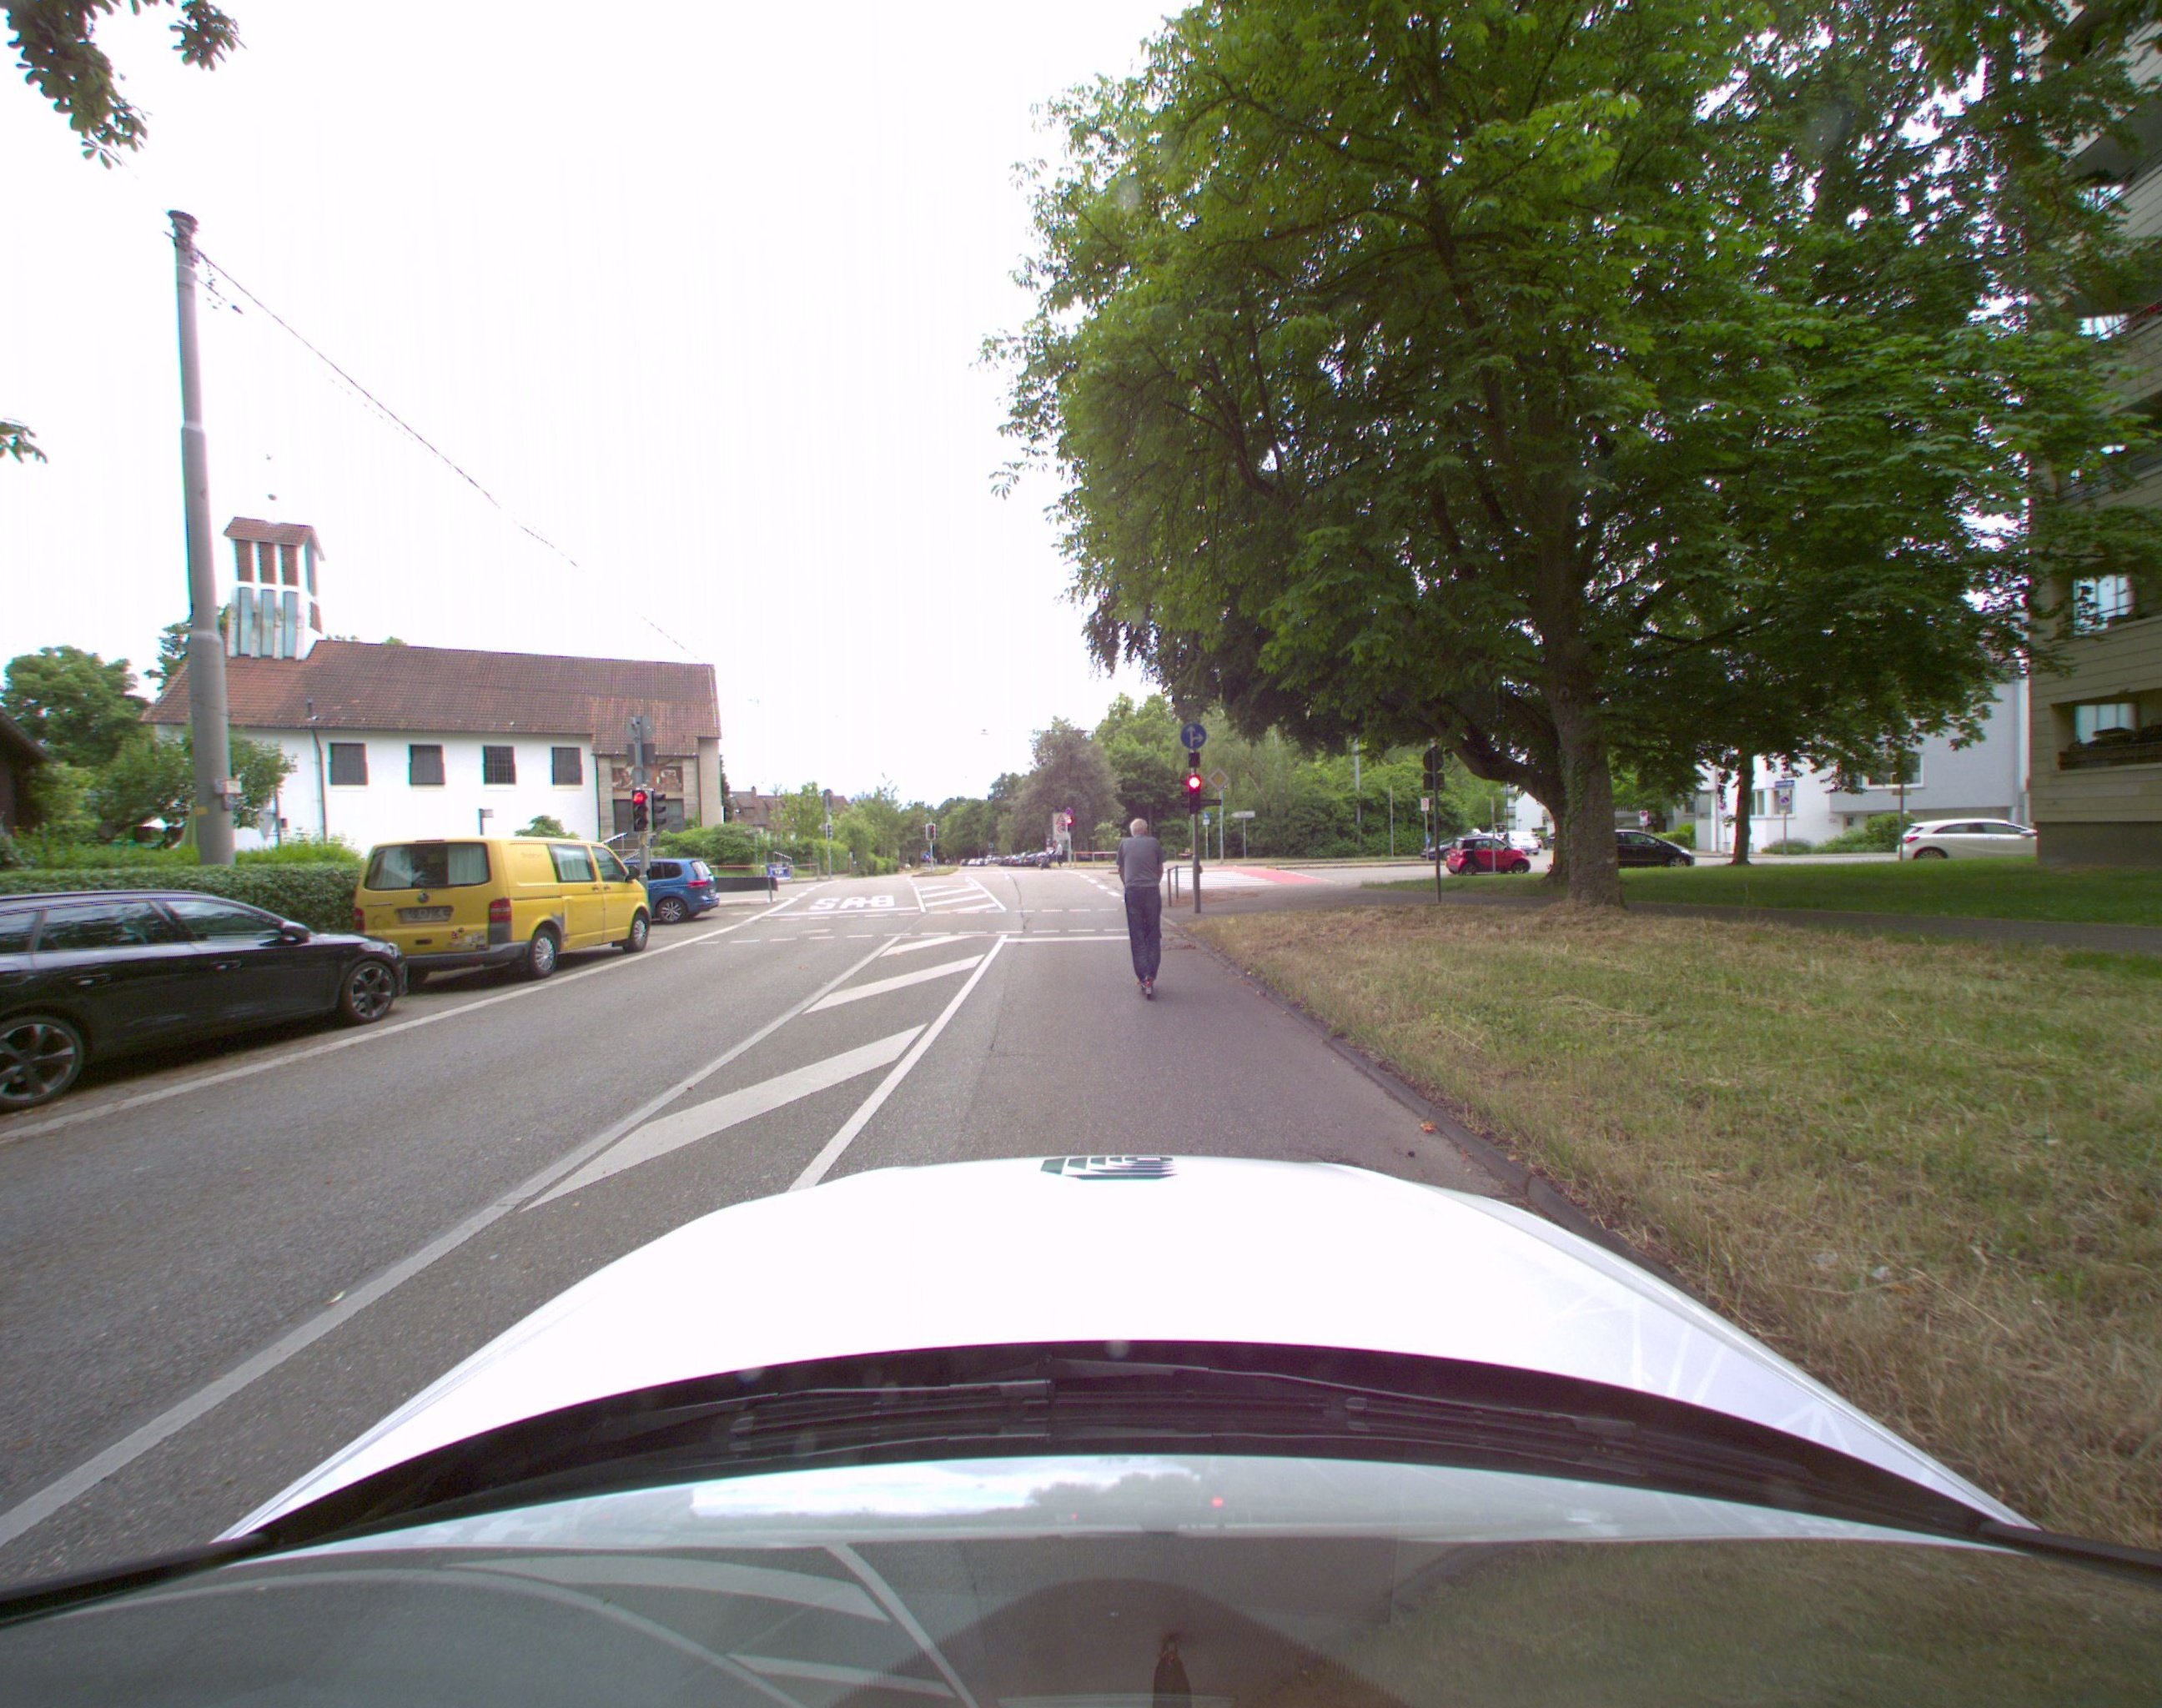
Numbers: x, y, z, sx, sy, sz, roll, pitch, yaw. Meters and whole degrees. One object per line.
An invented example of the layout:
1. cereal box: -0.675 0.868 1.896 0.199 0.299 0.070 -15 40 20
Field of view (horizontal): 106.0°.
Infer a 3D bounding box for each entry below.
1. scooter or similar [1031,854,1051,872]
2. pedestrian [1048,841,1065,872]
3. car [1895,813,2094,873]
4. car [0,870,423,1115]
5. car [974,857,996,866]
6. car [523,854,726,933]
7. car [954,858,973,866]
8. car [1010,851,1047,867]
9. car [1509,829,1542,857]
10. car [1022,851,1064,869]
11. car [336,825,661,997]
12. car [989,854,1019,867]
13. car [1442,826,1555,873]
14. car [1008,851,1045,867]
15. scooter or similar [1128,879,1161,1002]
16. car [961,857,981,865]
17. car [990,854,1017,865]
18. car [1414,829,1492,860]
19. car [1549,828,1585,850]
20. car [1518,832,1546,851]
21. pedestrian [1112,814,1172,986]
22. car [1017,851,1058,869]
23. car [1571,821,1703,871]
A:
1. scooter or similar: -2.474 0.563 50.196 1.110 1.081 0.574 -2 0 -16
2. pedestrian: -1.526 0.148 50.462 0.885 1.862 0.571 -2 0 -15
3. car: 27.651 -0.306 24.853 3.804 1.610 1.739 -3 1 42
4. car: -7.889 0.970 6.477 1.686 1.485 4.539 -2 0 -2
5. car: -18.946 1.447 160.430 3.857 1.610 1.715 -3 0 -22
6. car: -11.214 0.929 20.317 3.994 1.610 1.809 -3 0 -15
7. car: -26.317 1.766 182.087 3.857 1.610 1.715 -3 0 -22
8. car: -6.015 0.569 92.924 3.857 1.610 1.715 -3 0 -22
9. car: 28.110 -0.740 51.478 1.706 1.610 3.878 -3 1 29
10. car: -3.832 0.587 83.018 3.858 1.610 1.715 -3 0 -23
11. car: -8.307 0.680 12.285 1.881 2.013 4.556 -2 0 -6
12. car: -10.858 0.869 115.231 3.857 1.610 1.715 -3 0 -22
13. car: 16.189 -0.189 31.735 3.500 1.610 1.731 -3 0 6
14. car: -6.390 0.580 95.339 3.857 1.610 1.715 -3 0 -22
15. scooter or similar: 0.677 0.882 8.706 0.280 1.178 1.178 -2 0 4
16. car: -23.308 1.453 172.229 3.857 1.610 1.715 -3 0 -22
17. car: -12.159 0.846 128.210 3.857 1.610 1.715 -3 0 -22
18. car: 20.544 -0.520 45.054 3.499 1.530 1.732 -3 0 7
19. car: 38.067 -1.211 63.897 1.708 1.610 3.874 -3 1 21
20. car: 41.705 -1.194 75.376 1.708 1.610 3.874 -3 1 21
21. pedestrian: 0.666 0.492 8.916 0.570 1.813 0.420 -2 0 2
22. car: -4.564 0.602 85.564 3.857 1.610 1.715 -3 0 -22
23. car: 20.523 -0.283 30.254 3.805 1.610 1.739 -3 0 26
